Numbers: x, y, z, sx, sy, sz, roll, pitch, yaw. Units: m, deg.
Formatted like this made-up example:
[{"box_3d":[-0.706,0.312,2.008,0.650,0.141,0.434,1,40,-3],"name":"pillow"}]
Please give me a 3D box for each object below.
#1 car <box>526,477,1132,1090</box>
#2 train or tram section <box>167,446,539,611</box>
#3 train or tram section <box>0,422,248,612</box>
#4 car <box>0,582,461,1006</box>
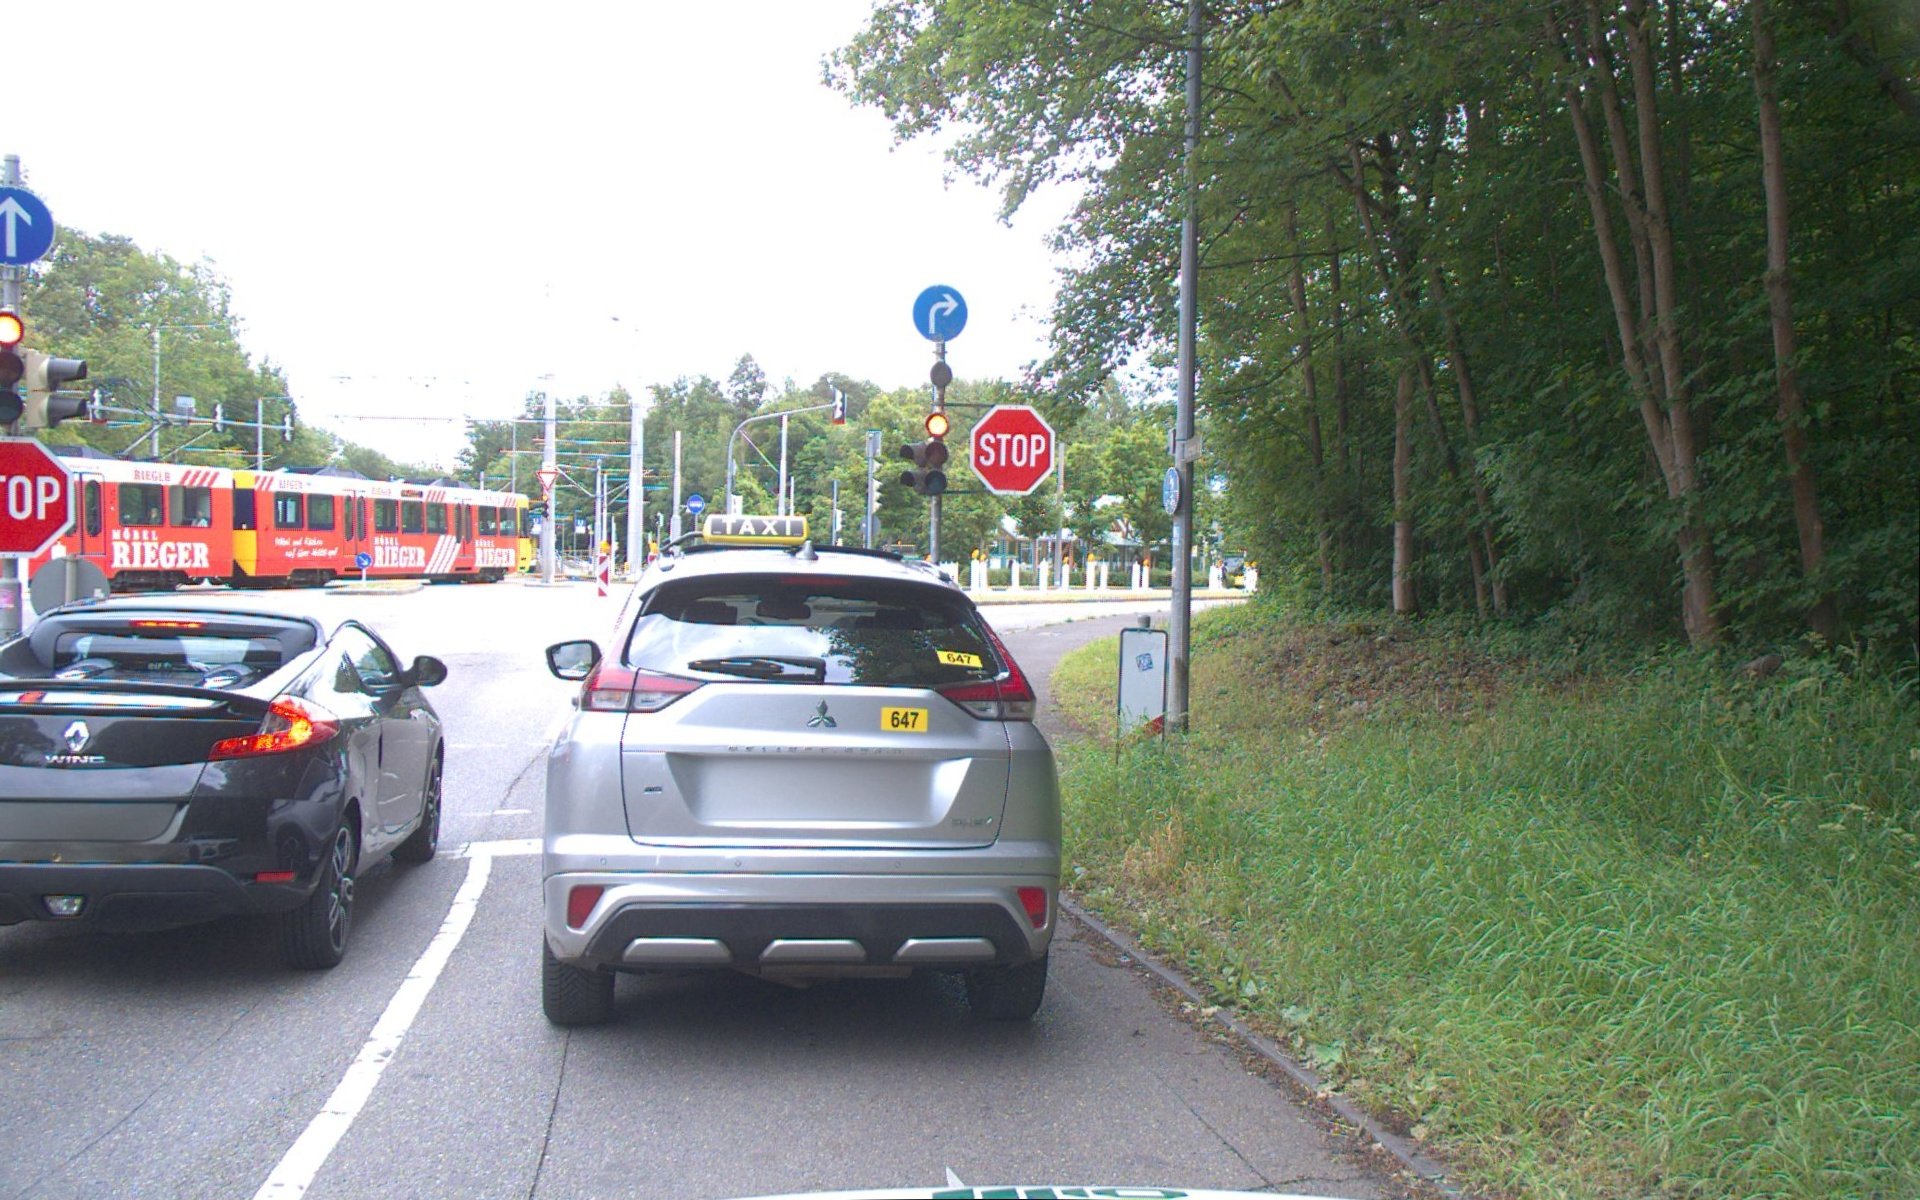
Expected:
[{"box_3d":[-0.656,0.527,6.799,1.741,1.778,3.773,2,1,-9],"name":"car"},{"box_3d":[-19.930,-2.023,57.064,2.884,4.732,18.561,1,0,11],"name":"train or tram section"},{"box_3d":[-24.647,-2.024,38.493,2.894,4.496,18.734,1,0,19],"name":"train or tram section"},{"box_3d":[-3.301,0.634,7.314,1.742,1.385,3.467,0,1,-11],"name":"car"}]
